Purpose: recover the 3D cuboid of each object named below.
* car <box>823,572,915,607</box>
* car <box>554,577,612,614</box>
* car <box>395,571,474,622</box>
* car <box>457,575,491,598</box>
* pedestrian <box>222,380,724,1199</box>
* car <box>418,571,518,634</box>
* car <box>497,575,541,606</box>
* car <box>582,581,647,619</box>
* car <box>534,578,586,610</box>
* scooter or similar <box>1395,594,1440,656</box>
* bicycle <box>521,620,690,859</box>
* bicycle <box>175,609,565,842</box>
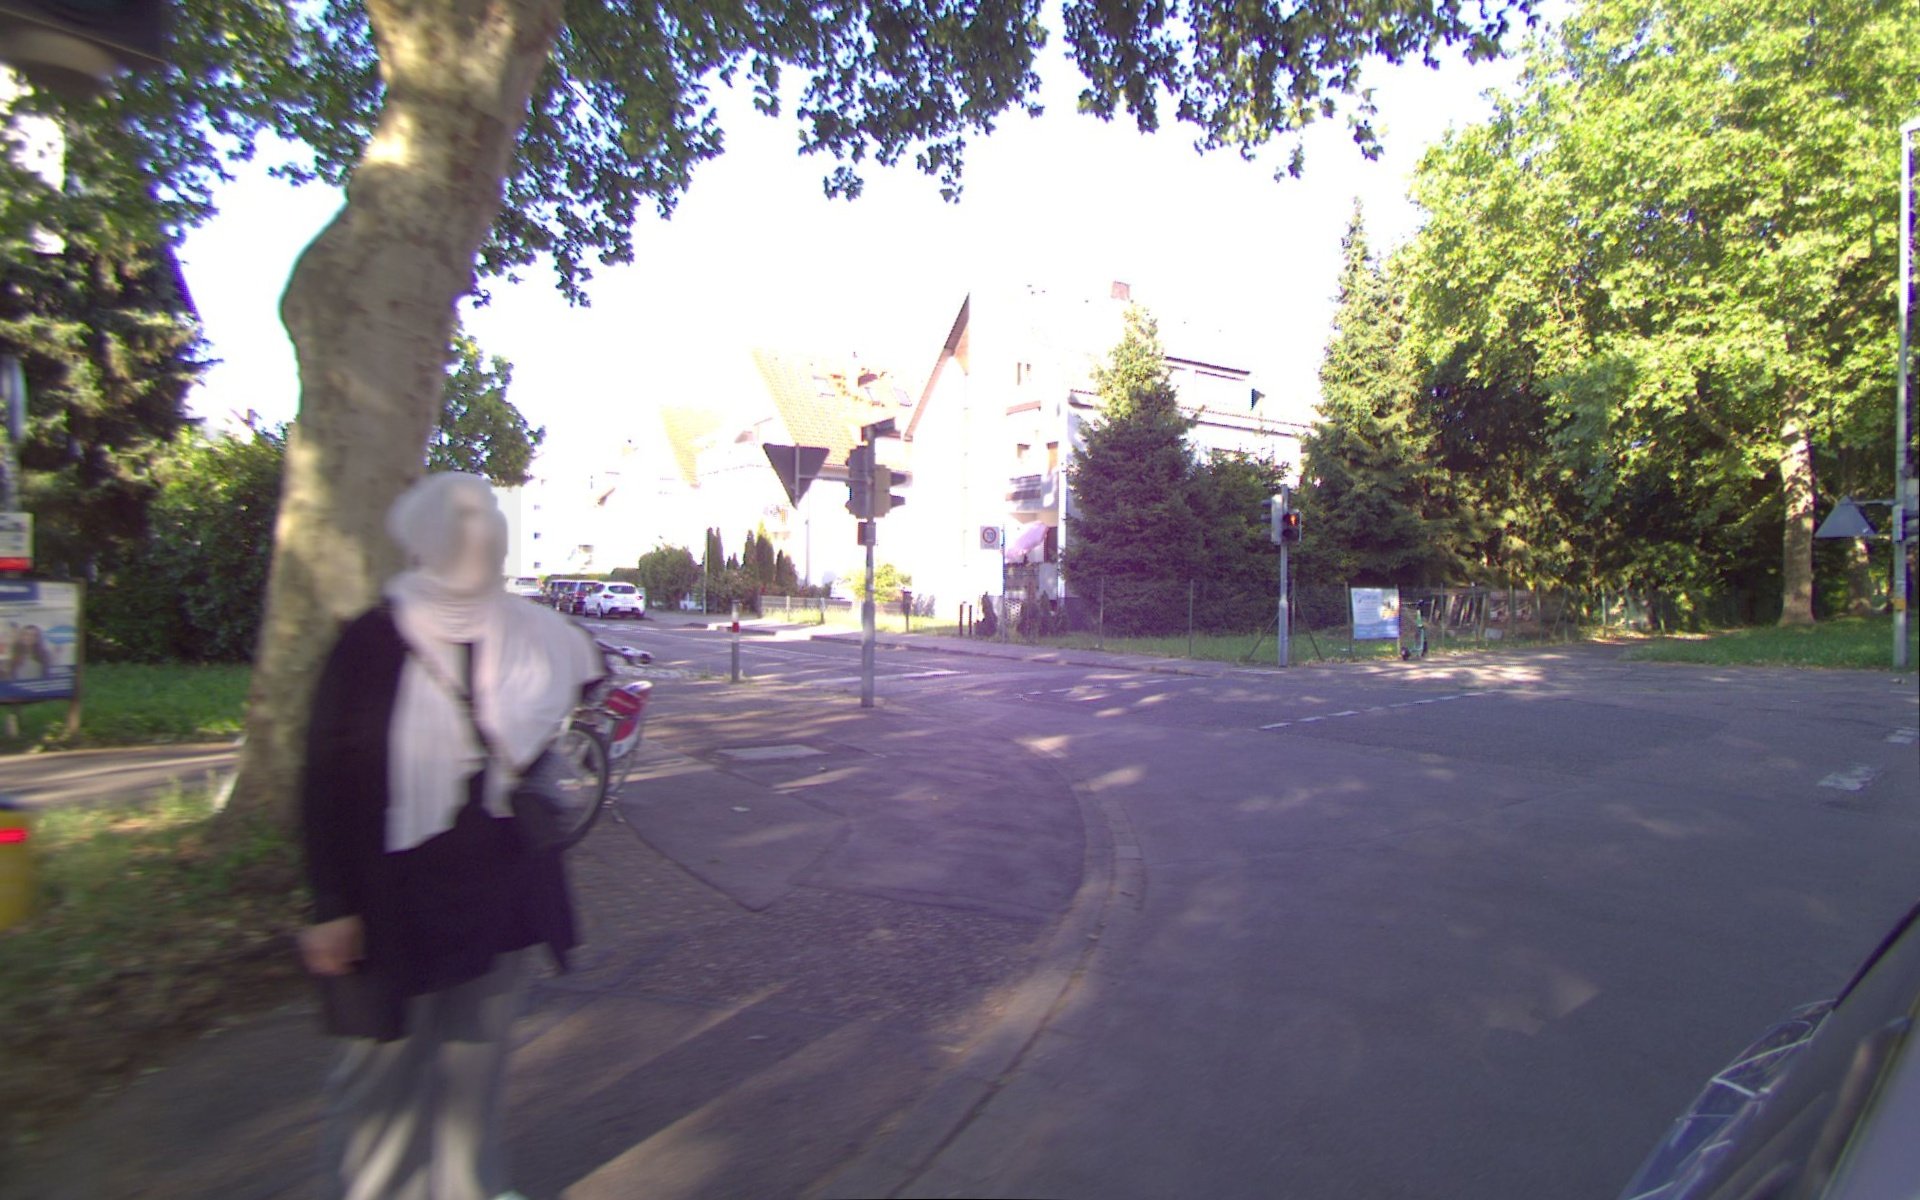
[{"bbox_3d":[-3.826,-0.423,42.593,3.512,1.439,1.707,0,0,-27],"label":"car"},{"bbox_3d":[-16.559,-0.213,44.379,1.634,1.530,3.566,0,1,-34],"label":"car"},{"bbox_3d":[-18.642,-0.149,35.837,1.833,1.615,3.759,4,-1,-37],"label":"car"},{"bbox_3d":[-34.198,-0.964,71.190,1.634,1.537,3.566,0,1,-34],"label":"car"},{"bbox_3d":[-1.071,0.476,2.257,0.634,1.740,0.813,4,3,42],"label":"pedestrian"},{"bbox_3d":[-14.228,0.036,29.192,1.833,1.615,3.759,4,-1,-37],"label":"car"},{"bbox_3d":[-24.710,-0.548,56.635,1.634,1.644,3.566,0,1,-34],"label":"car"},{"bbox_3d":[-13.808,-0.039,40.343,1.796,1.411,3.568,0,1,-30],"label":"car"},{"bbox_3d":[-19.340,-0.316,48.815,1.634,1.438,3.566,0,1,-34],"label":"car"},{"bbox_3d":[9.272,0.494,20.495,1.233,1.211,0.383,0,-1,-43],"label":"scooter or similar"},{"bbox_3d":[-1.911,0.683,5.665,0.437,1.048,1.722,3,1,-5],"label":"bicycle"},{"bbox_3d":[-3.289,0.620,5.891,0.443,1.096,1.987,3,1,29],"label":"bicycle"}]
